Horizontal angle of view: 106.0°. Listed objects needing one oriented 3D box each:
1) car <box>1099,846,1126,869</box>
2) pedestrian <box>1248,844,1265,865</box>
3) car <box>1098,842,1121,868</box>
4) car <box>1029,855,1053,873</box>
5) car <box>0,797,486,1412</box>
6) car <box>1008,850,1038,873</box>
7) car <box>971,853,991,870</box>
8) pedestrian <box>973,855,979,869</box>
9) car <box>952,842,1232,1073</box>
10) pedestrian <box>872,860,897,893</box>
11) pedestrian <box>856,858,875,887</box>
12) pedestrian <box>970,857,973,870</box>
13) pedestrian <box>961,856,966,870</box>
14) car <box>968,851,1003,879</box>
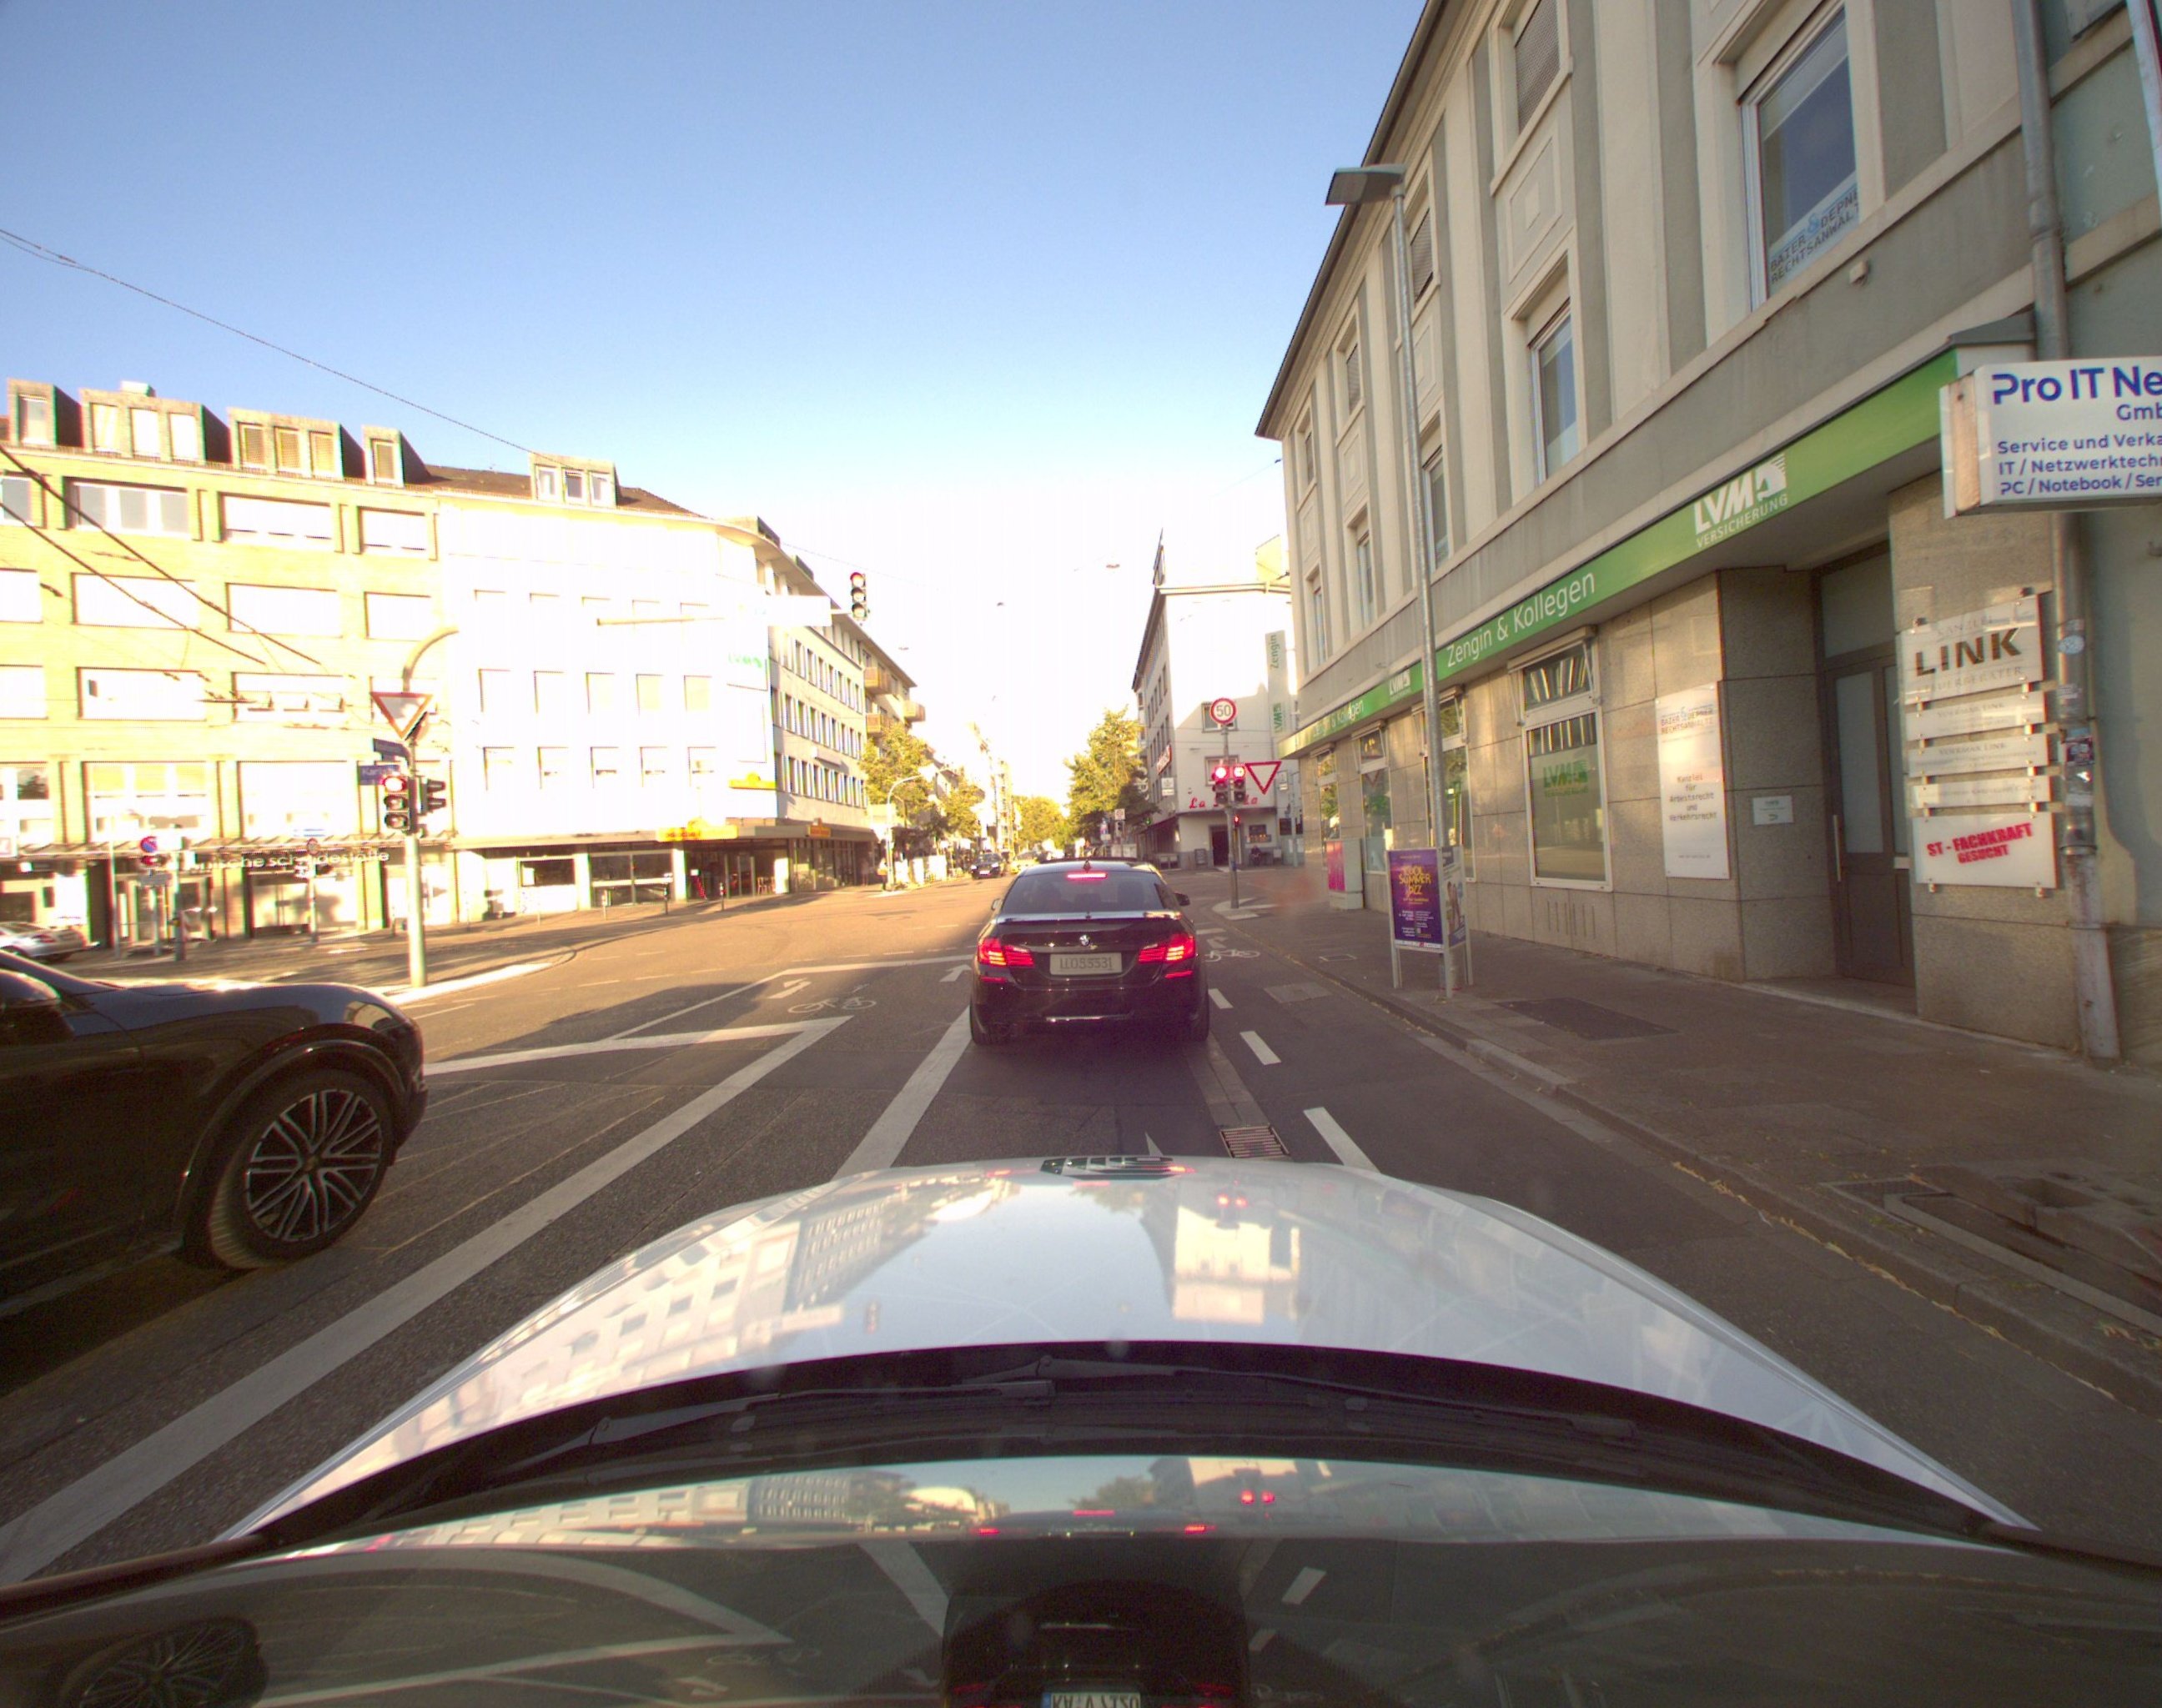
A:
[{"bbox_3d":[2.104,0.240,54.711,1.620,1.471,3.394,-2,0,0],"label":"car"},{"bbox_3d":[9.985,0.024,46.247,0.695,1.157,0.843,-3,0,-1],"label":"pedestrian"},{"bbox_3d":[2.131,0.055,61.115,1.417,1.854,3.050,-2,0,-2],"label":"car"},{"bbox_3d":[-3.193,0.741,64.677,1.731,1.293,3.993,-3,0,-5],"label":"car"},{"bbox_3d":[-4.027,0.760,1.781,1.942,1.714,4.562,-4,0,0],"label":"car"},{"bbox_3d":[-4.155,0.524,57.934,1.990,1.442,3.993,-3,0,-5],"label":"car"},{"bbox_3d":[-9.746,0.724,79.429,1.731,1.461,3.993,-3,0,-5],"label":"car"},{"bbox_3d":[-11.001,0.811,85.459,0.443,1.416,0.525,-3,0,-2],"label":"pedestrian"},{"bbox_3d":[0.063,0.692,7.828,1.898,1.540,4.448,-1,0,-1],"label":"car"},{"bbox_3d":[-9.569,1.086,39.619,0.944,1.537,0.907,-3,0,-4],"label":"pedestrian"},{"bbox_3d":[-13.140,1.140,49.701,0.821,1.676,0.871,-3,0,-1],"label":"pedestrian"},{"bbox_3d":[-11.478,1.003,85.397,0.306,1.359,0.284,-3,0,-9],"label":"pedestrian"},{"bbox_3d":[-12.263,0.911,85.105,0.443,1.416,0.525,-3,0,-2],"label":"pedestrian"},{"bbox_3d":[-6.126,0.657,52.540,1.990,1.618,3.993,-3,0,-5],"label":"car"}]
